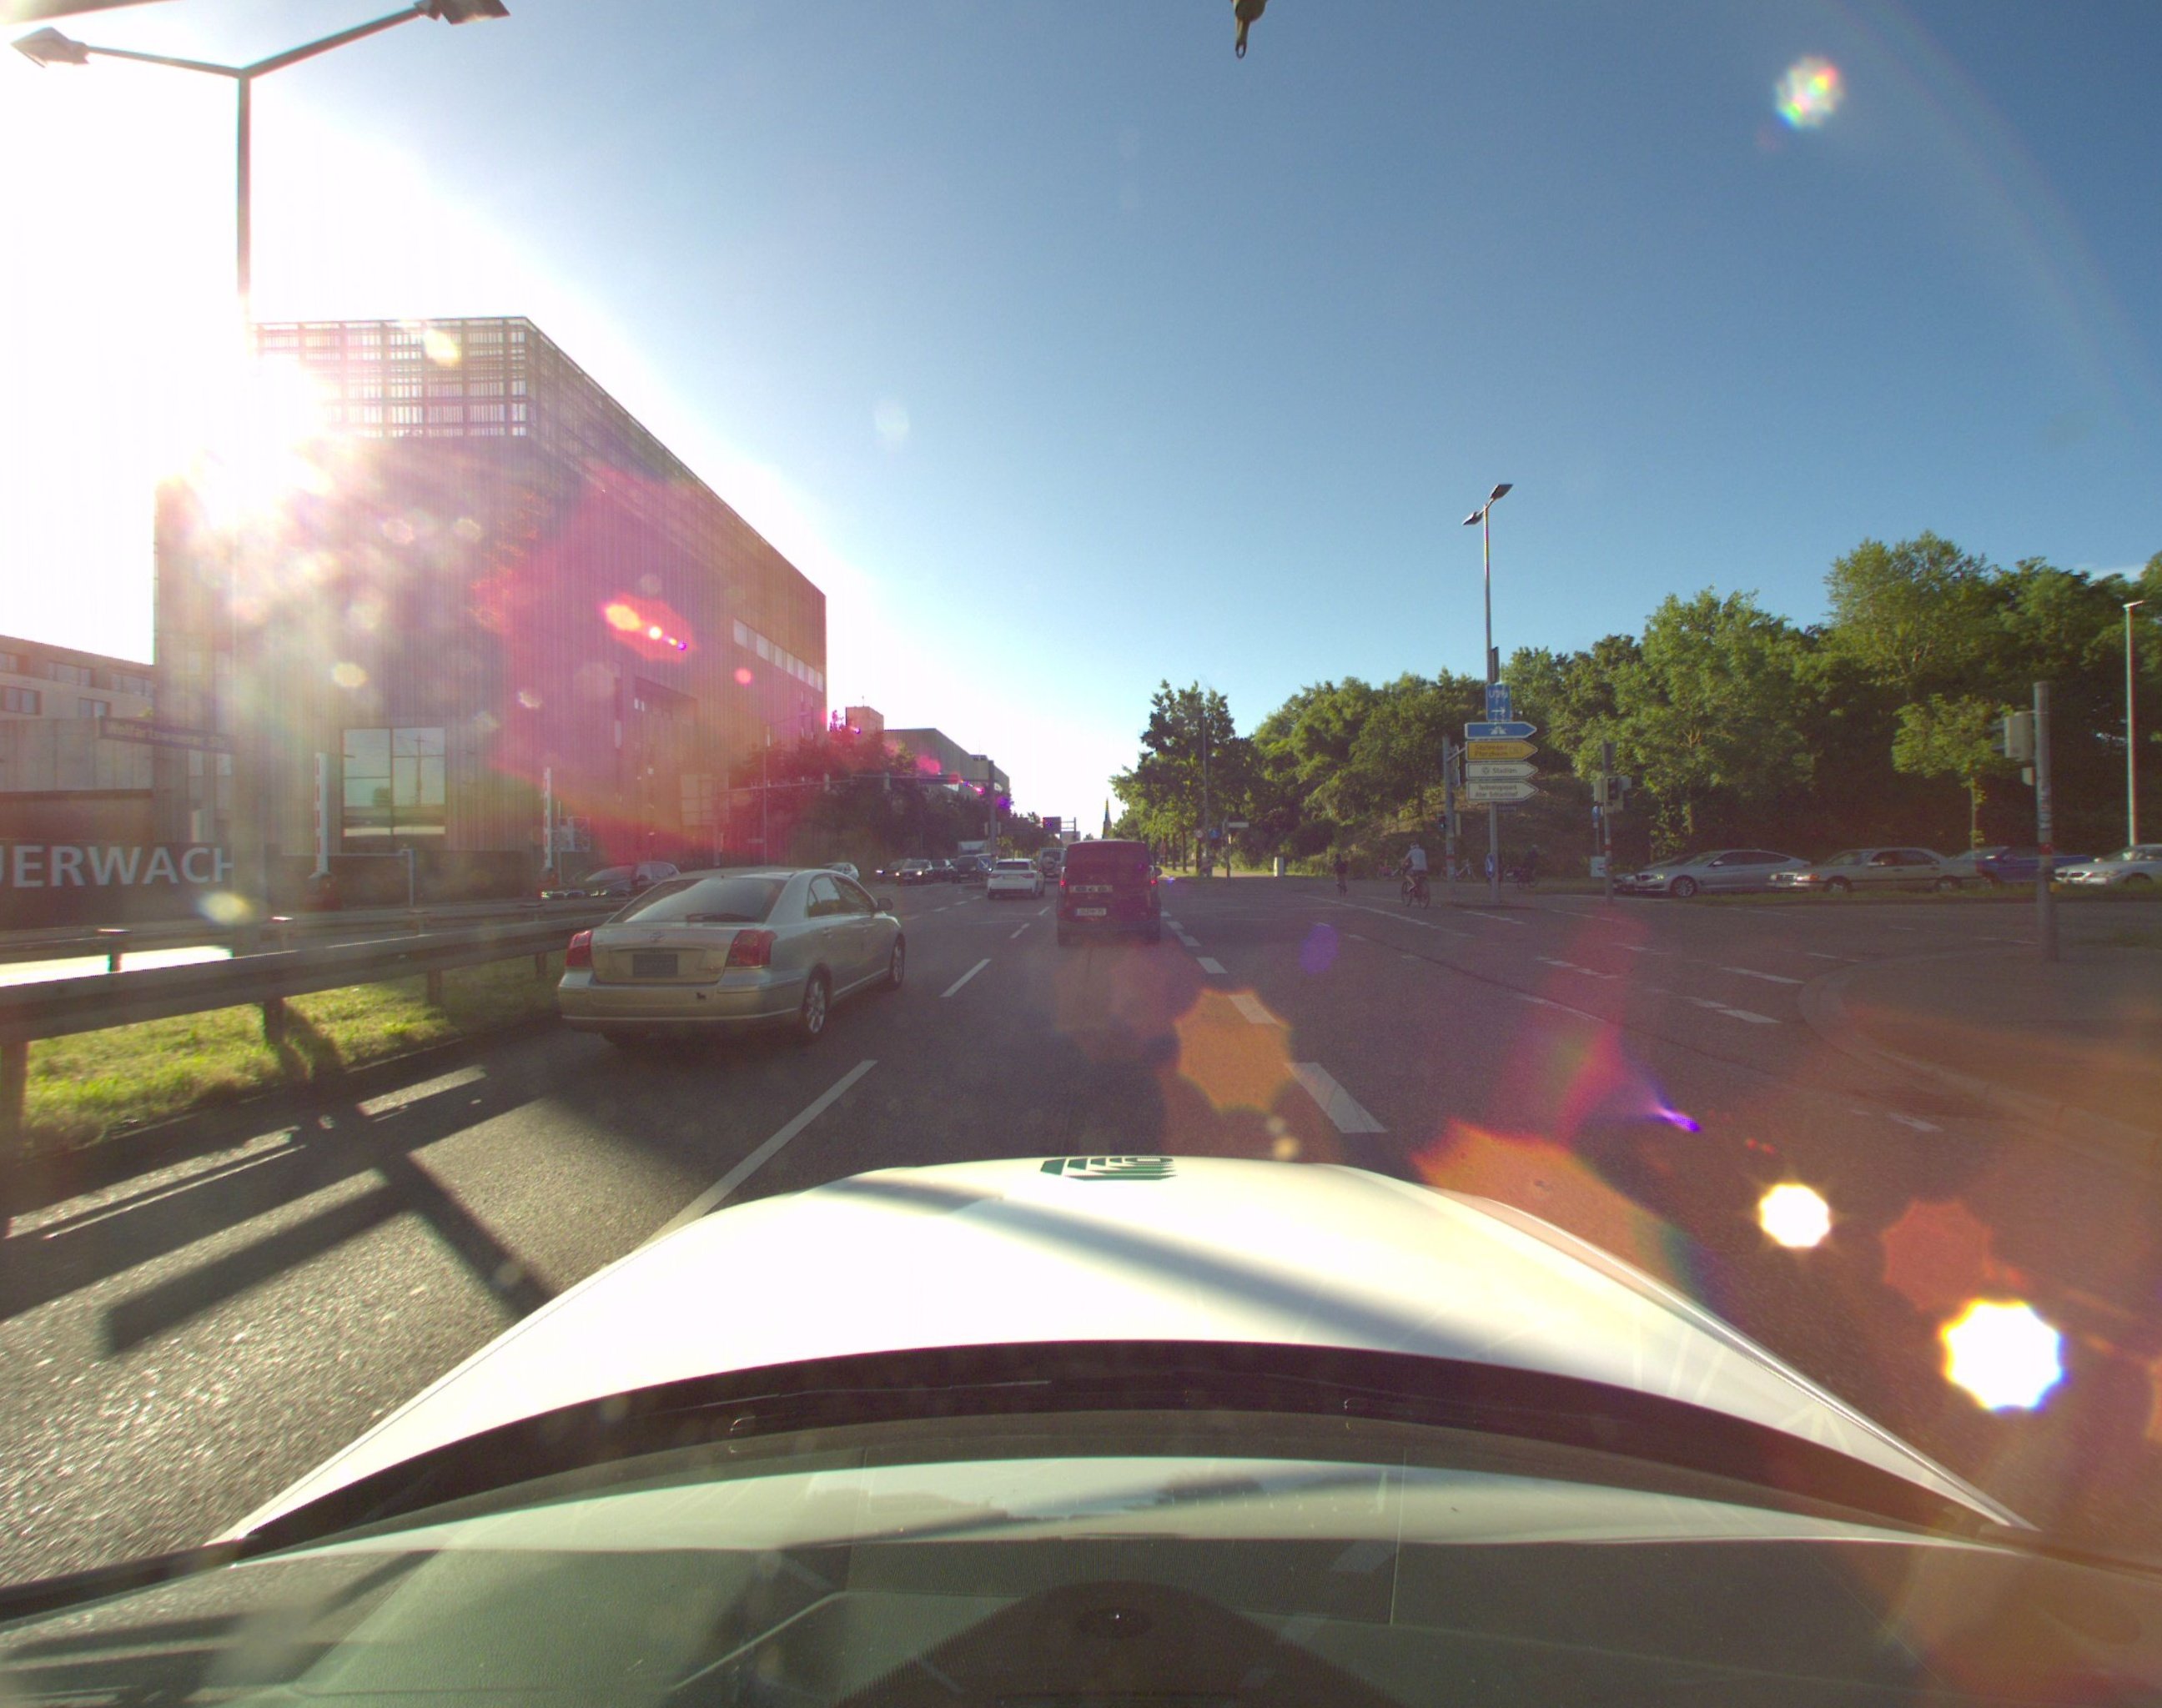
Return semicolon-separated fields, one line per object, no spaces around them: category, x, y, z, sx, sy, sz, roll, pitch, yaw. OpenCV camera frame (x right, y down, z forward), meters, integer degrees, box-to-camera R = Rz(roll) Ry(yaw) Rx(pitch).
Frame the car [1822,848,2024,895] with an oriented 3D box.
car;27.956;0.598;27.171;4.523;1.514;1.831;0;-2;7

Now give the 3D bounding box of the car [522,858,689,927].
car;-13.006;1.004;22.673;1.818;1.625;4.531;-3;-1;2

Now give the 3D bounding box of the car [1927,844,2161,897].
car;28.488;0.500;24.159;4.523;1.514;1.831;0;-2;7

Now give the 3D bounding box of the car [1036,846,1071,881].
car;-1.560;0.602;47.434;1.795;1.989;4.588;0;-2;0

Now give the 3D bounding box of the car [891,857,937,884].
car;-9.663;0.952;47.385;1.630;1.443;4.077;-3;-1;1

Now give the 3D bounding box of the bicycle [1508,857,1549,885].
bicycle;18.224;0.690;33.177;1.757;1.023;0.662;-4;0;-33

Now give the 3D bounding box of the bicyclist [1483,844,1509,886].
bicyclist;14.801;0.402;29.050;0.660;1.474;0.753;0;-2;12

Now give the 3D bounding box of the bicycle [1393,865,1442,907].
bicycle;8.625;0.824;20.946;0.589;1.023;1.751;0;-2;3

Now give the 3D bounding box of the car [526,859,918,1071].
car;-2.975;0.815;7.908;1.726;1.480;4.321;-1;-1;2

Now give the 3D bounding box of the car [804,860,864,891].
car;-12.713;1.091;42.136;1.640;1.404;3.980;-3;-1;2

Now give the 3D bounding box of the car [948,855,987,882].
car;-6.578;0.849;47.523;1.630;1.443;3.719;-3;-1;1

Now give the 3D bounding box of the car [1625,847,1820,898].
car;20.069;0.593;25.661;4.523;1.514;1.831;0;-2;7

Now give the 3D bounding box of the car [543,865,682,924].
car;-15.637;1.277;27.513;1.818;1.737;4.631;-3;-1;2

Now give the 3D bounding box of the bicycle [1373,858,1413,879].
bicycle;15.180;0.700;39.615;1.734;1.023;0.595;0;-2;9

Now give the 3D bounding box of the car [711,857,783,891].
car;-16.028;0.948;39.280;1.640;1.482;3.980;-3;-1;2

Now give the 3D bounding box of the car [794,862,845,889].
car;-15.503;1.269;48.404;1.639;1.434;3.495;-3;-1;4

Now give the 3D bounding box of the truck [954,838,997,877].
truck;-8.814;0.331;68.649;2.400;3.027;6.658;-3;-1;1

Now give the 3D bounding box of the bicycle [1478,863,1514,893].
bicycle;14.841;0.855;29.171;0.667;1.023;2.062;0;-2;13

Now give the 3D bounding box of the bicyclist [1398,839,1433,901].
bicyclist;8.598;0.416;20.974;0.589;1.549;0.769;0;-2;2

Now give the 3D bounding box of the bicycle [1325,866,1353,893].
bicycle;9.838;0.972;31.080;0.589;1.023;1.751;0;-2;3

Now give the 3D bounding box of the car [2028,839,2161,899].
car;28.222;0.405;21.242;4.523;1.514;1.831;0;-2;7

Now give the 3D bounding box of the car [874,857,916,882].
car;-12.548;1.057;55.086;1.640;1.545;4.399;-3;-1;1

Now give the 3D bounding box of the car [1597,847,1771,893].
car;20.756;0.567;28.201;4.523;1.514;1.831;0;-2;7

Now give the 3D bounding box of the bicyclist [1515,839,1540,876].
bicyclist;18.171;0.142;33.144;0.620;1.481;0.645;0;-1;-33

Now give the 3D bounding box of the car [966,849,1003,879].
car;-6.414;0.670;54.477;1.751;1.796;4.084;-3;-1;1

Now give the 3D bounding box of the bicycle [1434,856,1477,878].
bicycle;17.577;0.636;38.238;1.734;1.023;0.595;0;-2;9

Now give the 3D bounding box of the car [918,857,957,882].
car;-9.255;0.988;52.755;1.630;1.443;4.077;-3;-1;1

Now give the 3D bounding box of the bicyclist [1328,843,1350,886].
bicyclist;9.821;0.418;31.032;0.589;1.614;0.943;0;-2;2

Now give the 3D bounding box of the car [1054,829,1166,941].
car;0.488;0.560;15.115;1.799;1.795;3.999;0;-2;0

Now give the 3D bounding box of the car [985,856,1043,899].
car;-2.349;0.815;29.467;1.808;1.438;3.730;0;-1;-1

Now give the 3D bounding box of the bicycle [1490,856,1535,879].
bicycle;19.669;0.631;37.144;1.733;1.023;0.595;0;-2;11

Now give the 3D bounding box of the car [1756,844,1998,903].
car;21.514;0.536;22.188;4.523;1.514;1.831;0;-2;7
